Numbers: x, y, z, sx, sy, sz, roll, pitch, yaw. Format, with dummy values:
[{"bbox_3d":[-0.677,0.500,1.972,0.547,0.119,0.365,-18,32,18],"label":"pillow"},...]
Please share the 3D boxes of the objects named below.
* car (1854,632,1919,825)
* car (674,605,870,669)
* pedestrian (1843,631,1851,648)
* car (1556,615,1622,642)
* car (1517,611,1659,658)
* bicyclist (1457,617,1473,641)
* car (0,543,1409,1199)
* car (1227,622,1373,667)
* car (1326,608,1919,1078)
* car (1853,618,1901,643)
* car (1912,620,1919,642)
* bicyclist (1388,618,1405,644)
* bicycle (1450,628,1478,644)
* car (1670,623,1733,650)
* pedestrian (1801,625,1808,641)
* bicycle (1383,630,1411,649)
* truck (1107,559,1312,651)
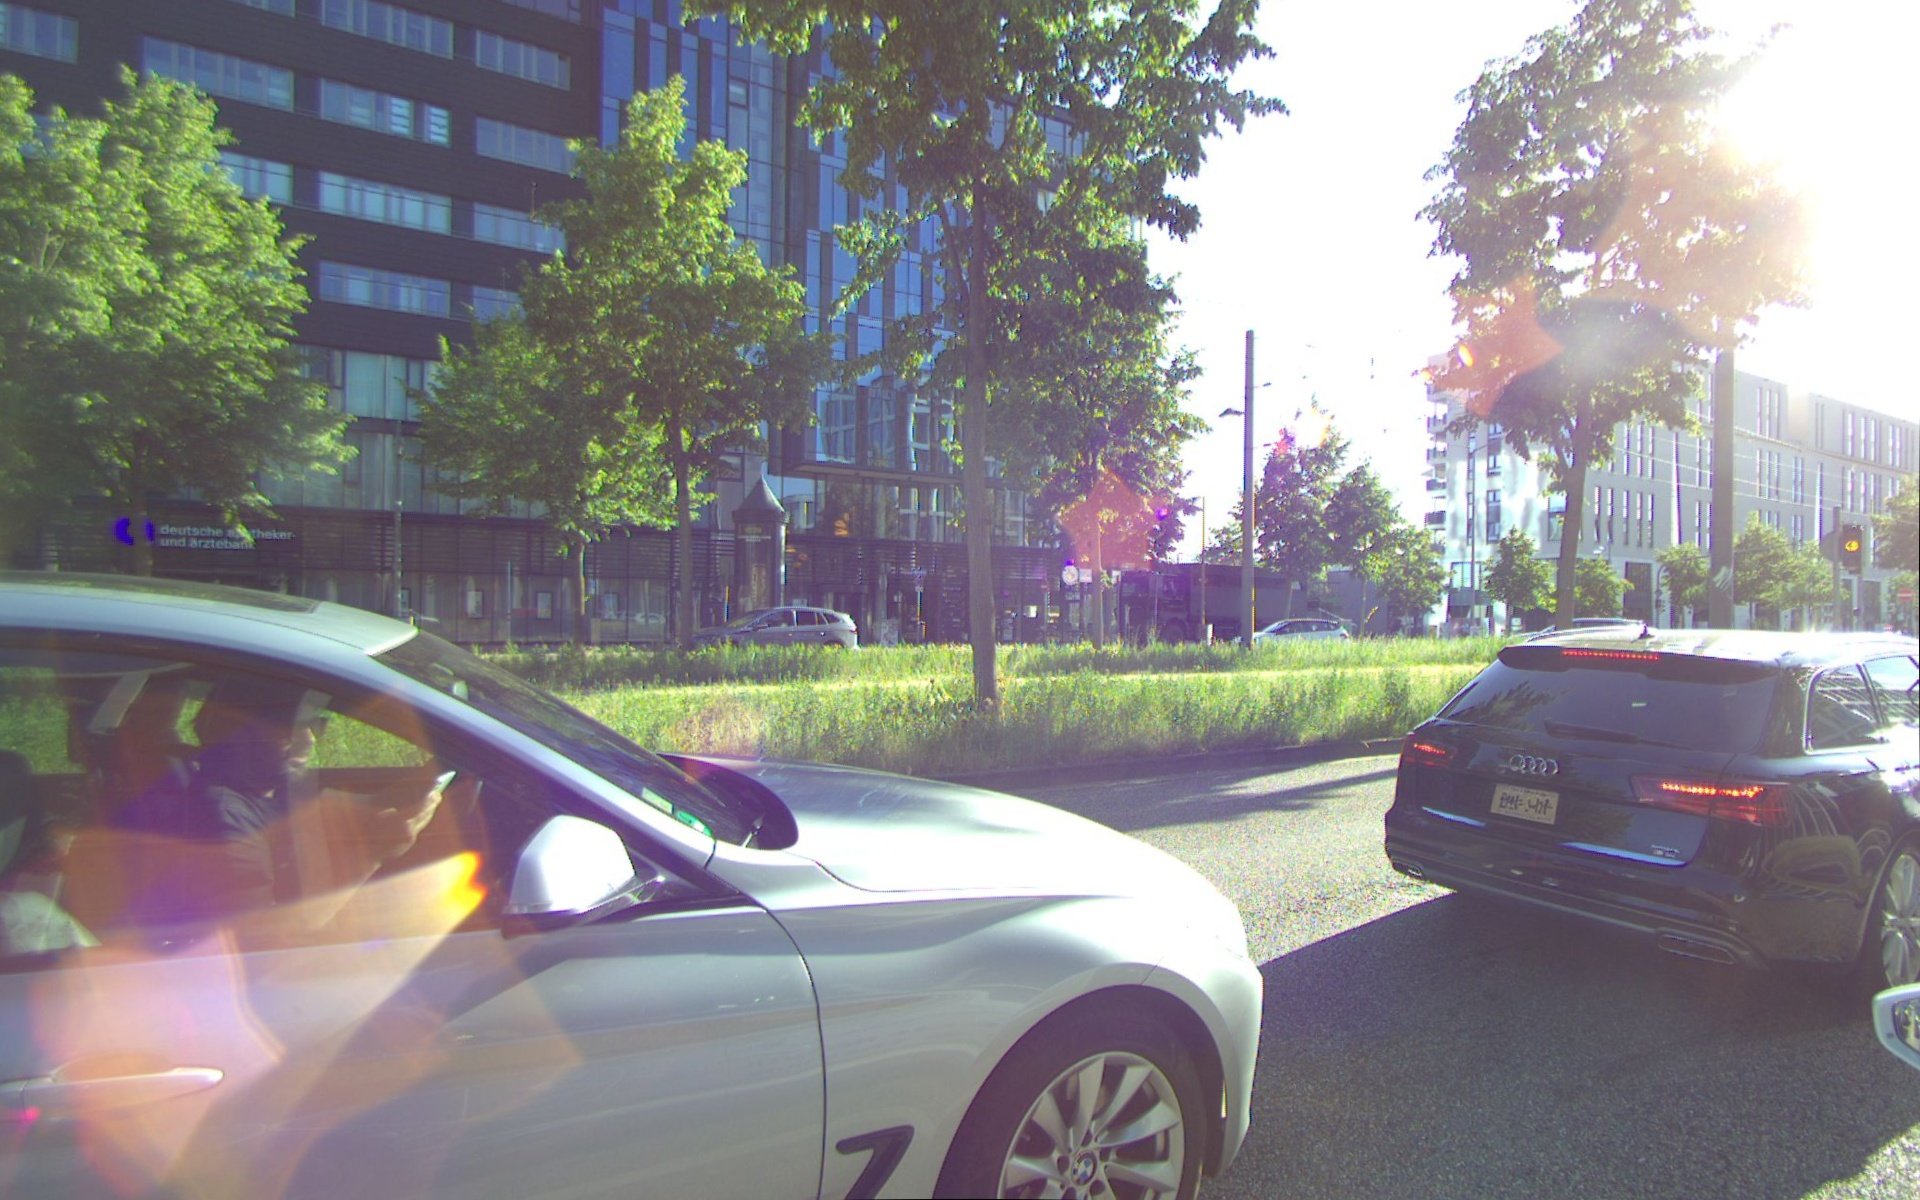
[{"bbox_3d":[9.347,1.014,8.207,4.288,1.445,1.833,1,0,-30],"label":"car"},{"bbox_3d":[-4.642,0.891,25.138,4.524,1.467,1.787,1,-1,-36],"label":"car"},{"bbox_3d":[92.393,4.142,104.635,0.474,1.767,0.466,1,0,-30],"label":"pedestrian"},{"bbox_3d":[37.528,1.684,59.903,3.953,1.540,1.756,1,-1,-30],"label":"car"},{"bbox_3d":[21.967,1.189,35.293,4.142,1.512,1.516,0,-1,32],"label":"car"},{"bbox_3d":[32.698,1.886,65.030,0.706,1.549,0.674,1,0,-30],"label":"bicyclist"},{"bbox_3d":[-1.306,0.698,2.024,4.509,1.504,1.810,1,-1,-31],"label":"car"},{"bbox_3d":[11.841,1.531,35.122,4.482,1.467,1.804,1,-1,-5],"label":"car"},{"bbox_3d":[4.333,0.835,5.326,4.911,1.504,1.864,1,-1,-32],"label":"car"},{"bbox_3d":[78.094,2.592,85.524,3.953,2.040,1.984,1,-1,-30],"label":"car"},{"bbox_3d":[90.294,2.879,93.138,3.953,2.040,1.984,1,-1,-30],"label":"car"},{"bbox_3d":[24.652,1.763,56.709,0.811,1.443,0.475,1,-1,-30],"label":"bicyclist"},{"bbox_3d":[32.645,2.344,65.006,1.933,1.001,0.673,1,-1,-31],"label":"bicycle"},{"bbox_3d":[51.467,2.511,69.678,4.319,1.838,1.984,1,-1,-30],"label":"car"},{"bbox_3d":[79.081,3.105,94.008,0.386,1.457,0.458,1,-1,-43],"label":"pedestrian"},{"bbox_3d":[24.690,2.224,56.739,1.735,1.049,0.475,1,-1,-31],"label":"bicycle"},{"bbox_3d":[11.693,0.298,46.497,10.094,3.904,2.877,1,-1,-31],"label":"truck"}]
